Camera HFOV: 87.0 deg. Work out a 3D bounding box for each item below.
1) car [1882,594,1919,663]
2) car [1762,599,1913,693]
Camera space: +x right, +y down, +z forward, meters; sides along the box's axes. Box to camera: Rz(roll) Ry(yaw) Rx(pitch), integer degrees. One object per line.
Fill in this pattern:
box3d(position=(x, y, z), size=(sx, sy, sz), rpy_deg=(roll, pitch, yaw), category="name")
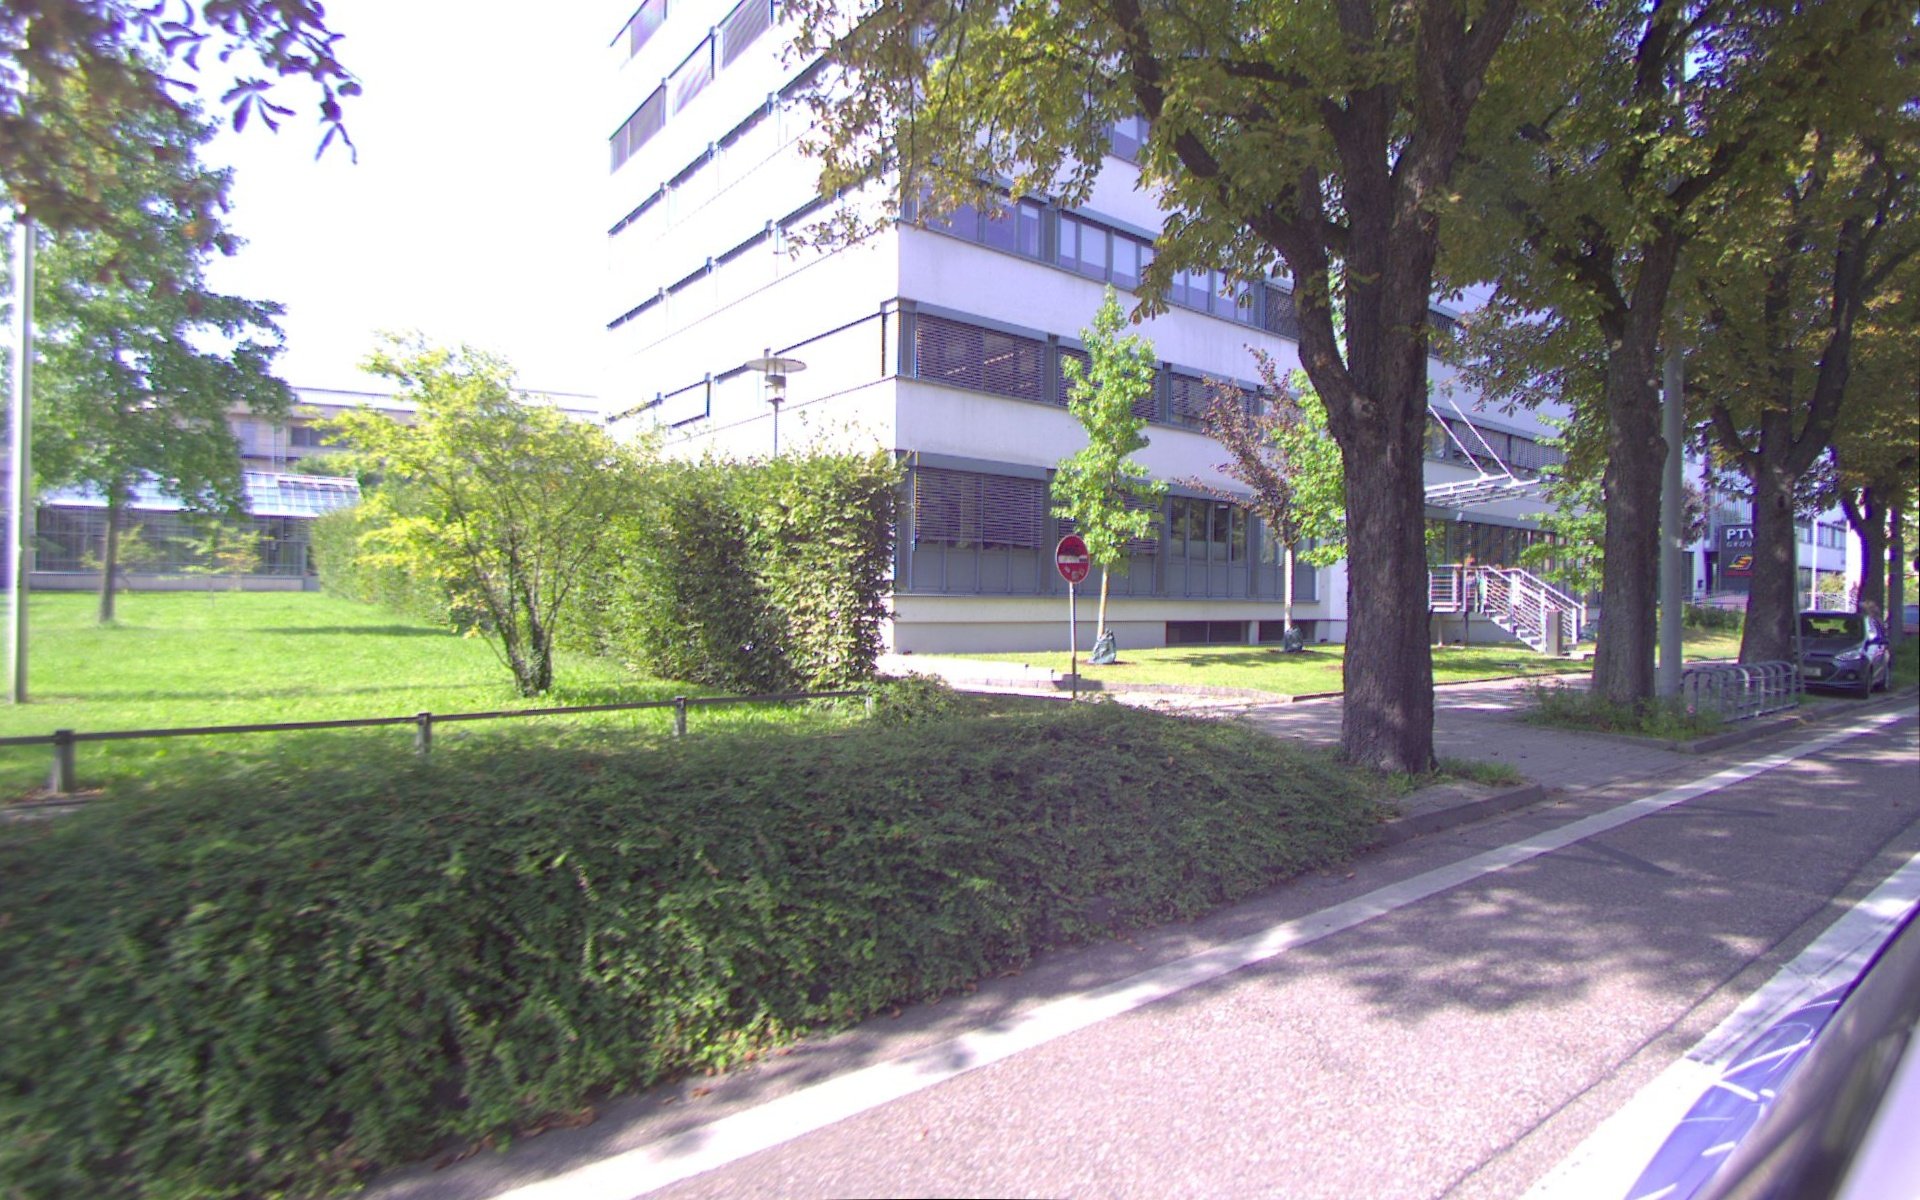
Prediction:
box3d(position=(25.364, 0.706, 26.033), size=(4.109, 1.673, 1.866), rpy_deg=(0, 2, -40), category="car")
box3d(position=(16.100, 0.763, 18.522), size=(3.502, 1.459, 1.566), rpy_deg=(0, 3, -41), category="car")
